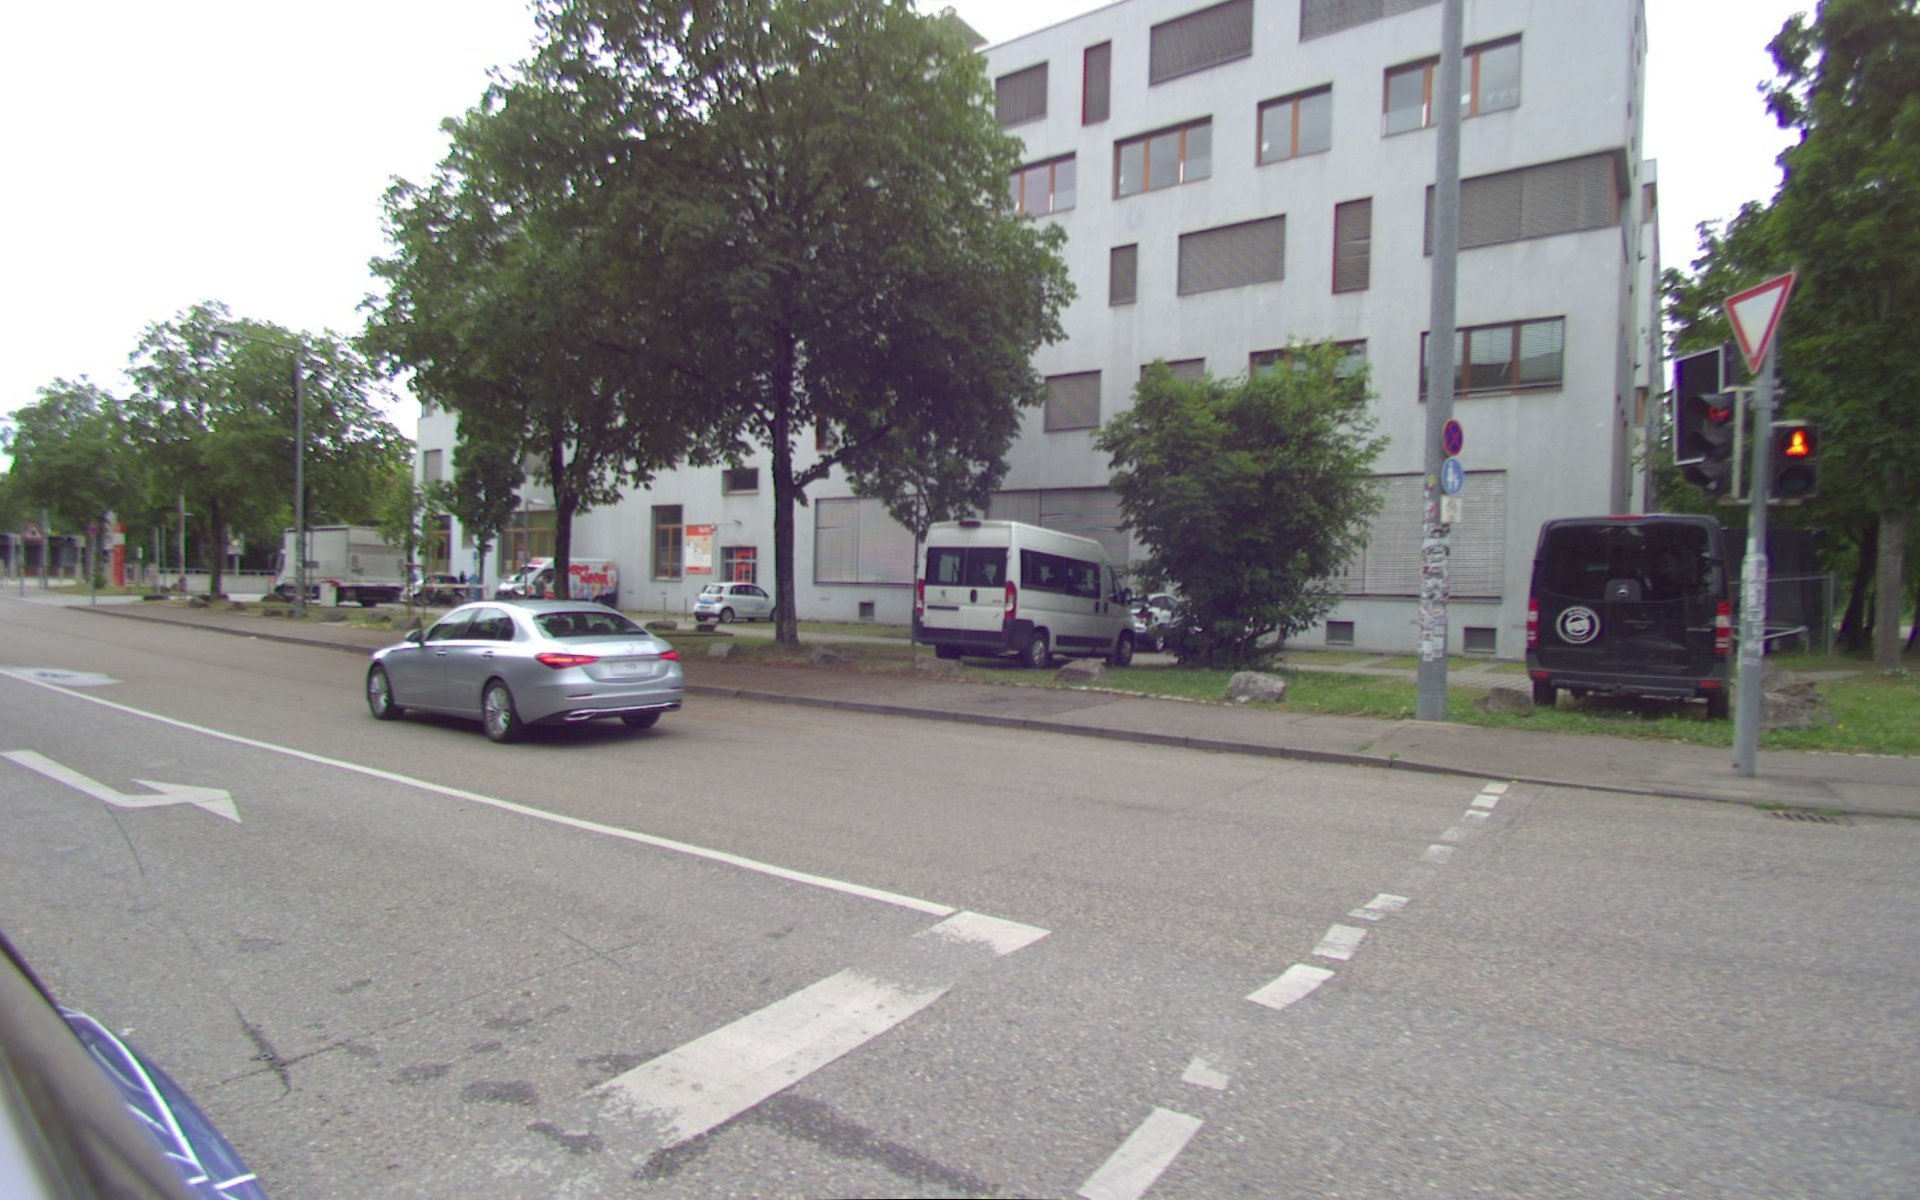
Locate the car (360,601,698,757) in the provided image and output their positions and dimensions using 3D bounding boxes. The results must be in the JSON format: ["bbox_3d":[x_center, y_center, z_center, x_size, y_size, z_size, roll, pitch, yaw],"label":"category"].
[{"bbox_3d":[-4.972,0.739,11.386,4.366,1.408,1.680,1,0,39],"label":"car"}]

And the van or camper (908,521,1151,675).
[{"bbox_3d":[1.474,0.033,18.799,2.152,2.442,5.124,1,-1,35],"label":"van or camper"}]

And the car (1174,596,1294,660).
[{"bbox_3d":[7.483,0.692,27.383,1.854,1.470,4.027,0,2,36],"label":"car"}]

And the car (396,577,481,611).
[{"bbox_3d":[-27.429,-0.304,53.296,1.654,1.660,3.652,1,0,40],"label":"car"}]

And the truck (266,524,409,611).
[{"bbox_3d":[-28.814,-1.447,46.705,7.821,3.644,2.618,1,-2,35],"label":"truck"}]

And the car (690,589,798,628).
[{"bbox_3d":[-8.348,0.301,39.445,1.712,1.429,3.961,1,0,37],"label":"car"}]

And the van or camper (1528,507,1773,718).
[{"bbox_3d":[9.007,0.250,13.077,2.167,2.126,5.573,0,-3,37],"label":"van or camper"}]

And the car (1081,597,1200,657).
[{"bbox_3d":[5.190,0.703,28.754,1.840,1.541,4.034,1,1,35],"label":"car"}]

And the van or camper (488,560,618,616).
[{"bbox_3d":[-18.725,-0.528,46.837,2.253,2.444,5.206,1,0,35],"label":"van or camper"}]
